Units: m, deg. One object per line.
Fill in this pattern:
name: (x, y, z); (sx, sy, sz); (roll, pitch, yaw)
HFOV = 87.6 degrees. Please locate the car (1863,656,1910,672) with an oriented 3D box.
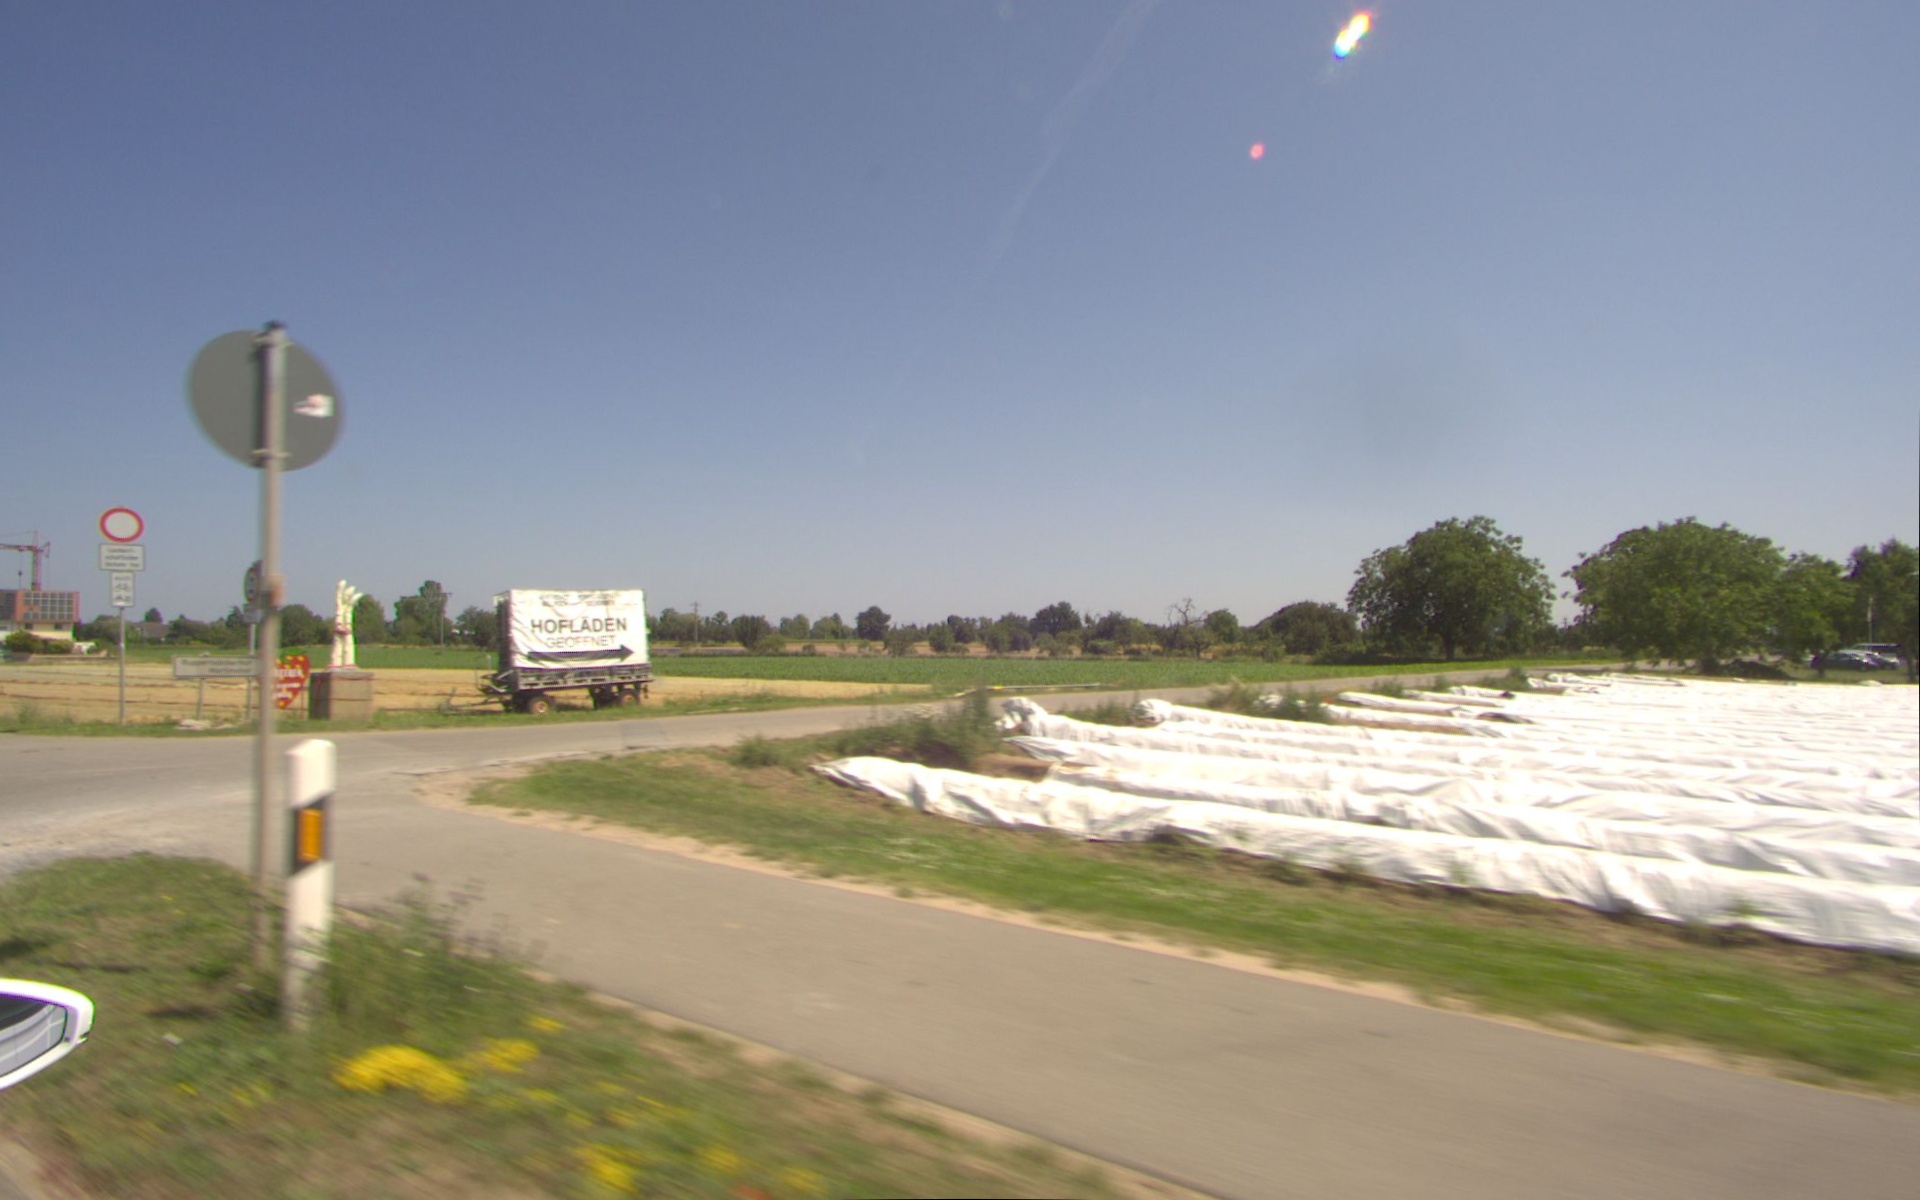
car: (75.636, 5.219, 81.770); (2.752, 1.213, 1.287); (-1, -3, 40)

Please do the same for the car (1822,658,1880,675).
car: (67.860, 5.075, 76.349); (3.241, 1.213, 1.287); (-1, -3, 40)

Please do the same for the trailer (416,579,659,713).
trailer: (-10.402, 1.129, 24.981); (1.980, 2.988, 5.249); (-3, -3, 43)

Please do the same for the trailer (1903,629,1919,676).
trailer: (71.253, 3.852, 72.787); (7.364, 3.334, 3.232); (3, -4, -41)

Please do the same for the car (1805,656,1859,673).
car: (70.742, 5.222, 81.275); (3.241, 1.213, 1.287); (-1, -3, 40)
